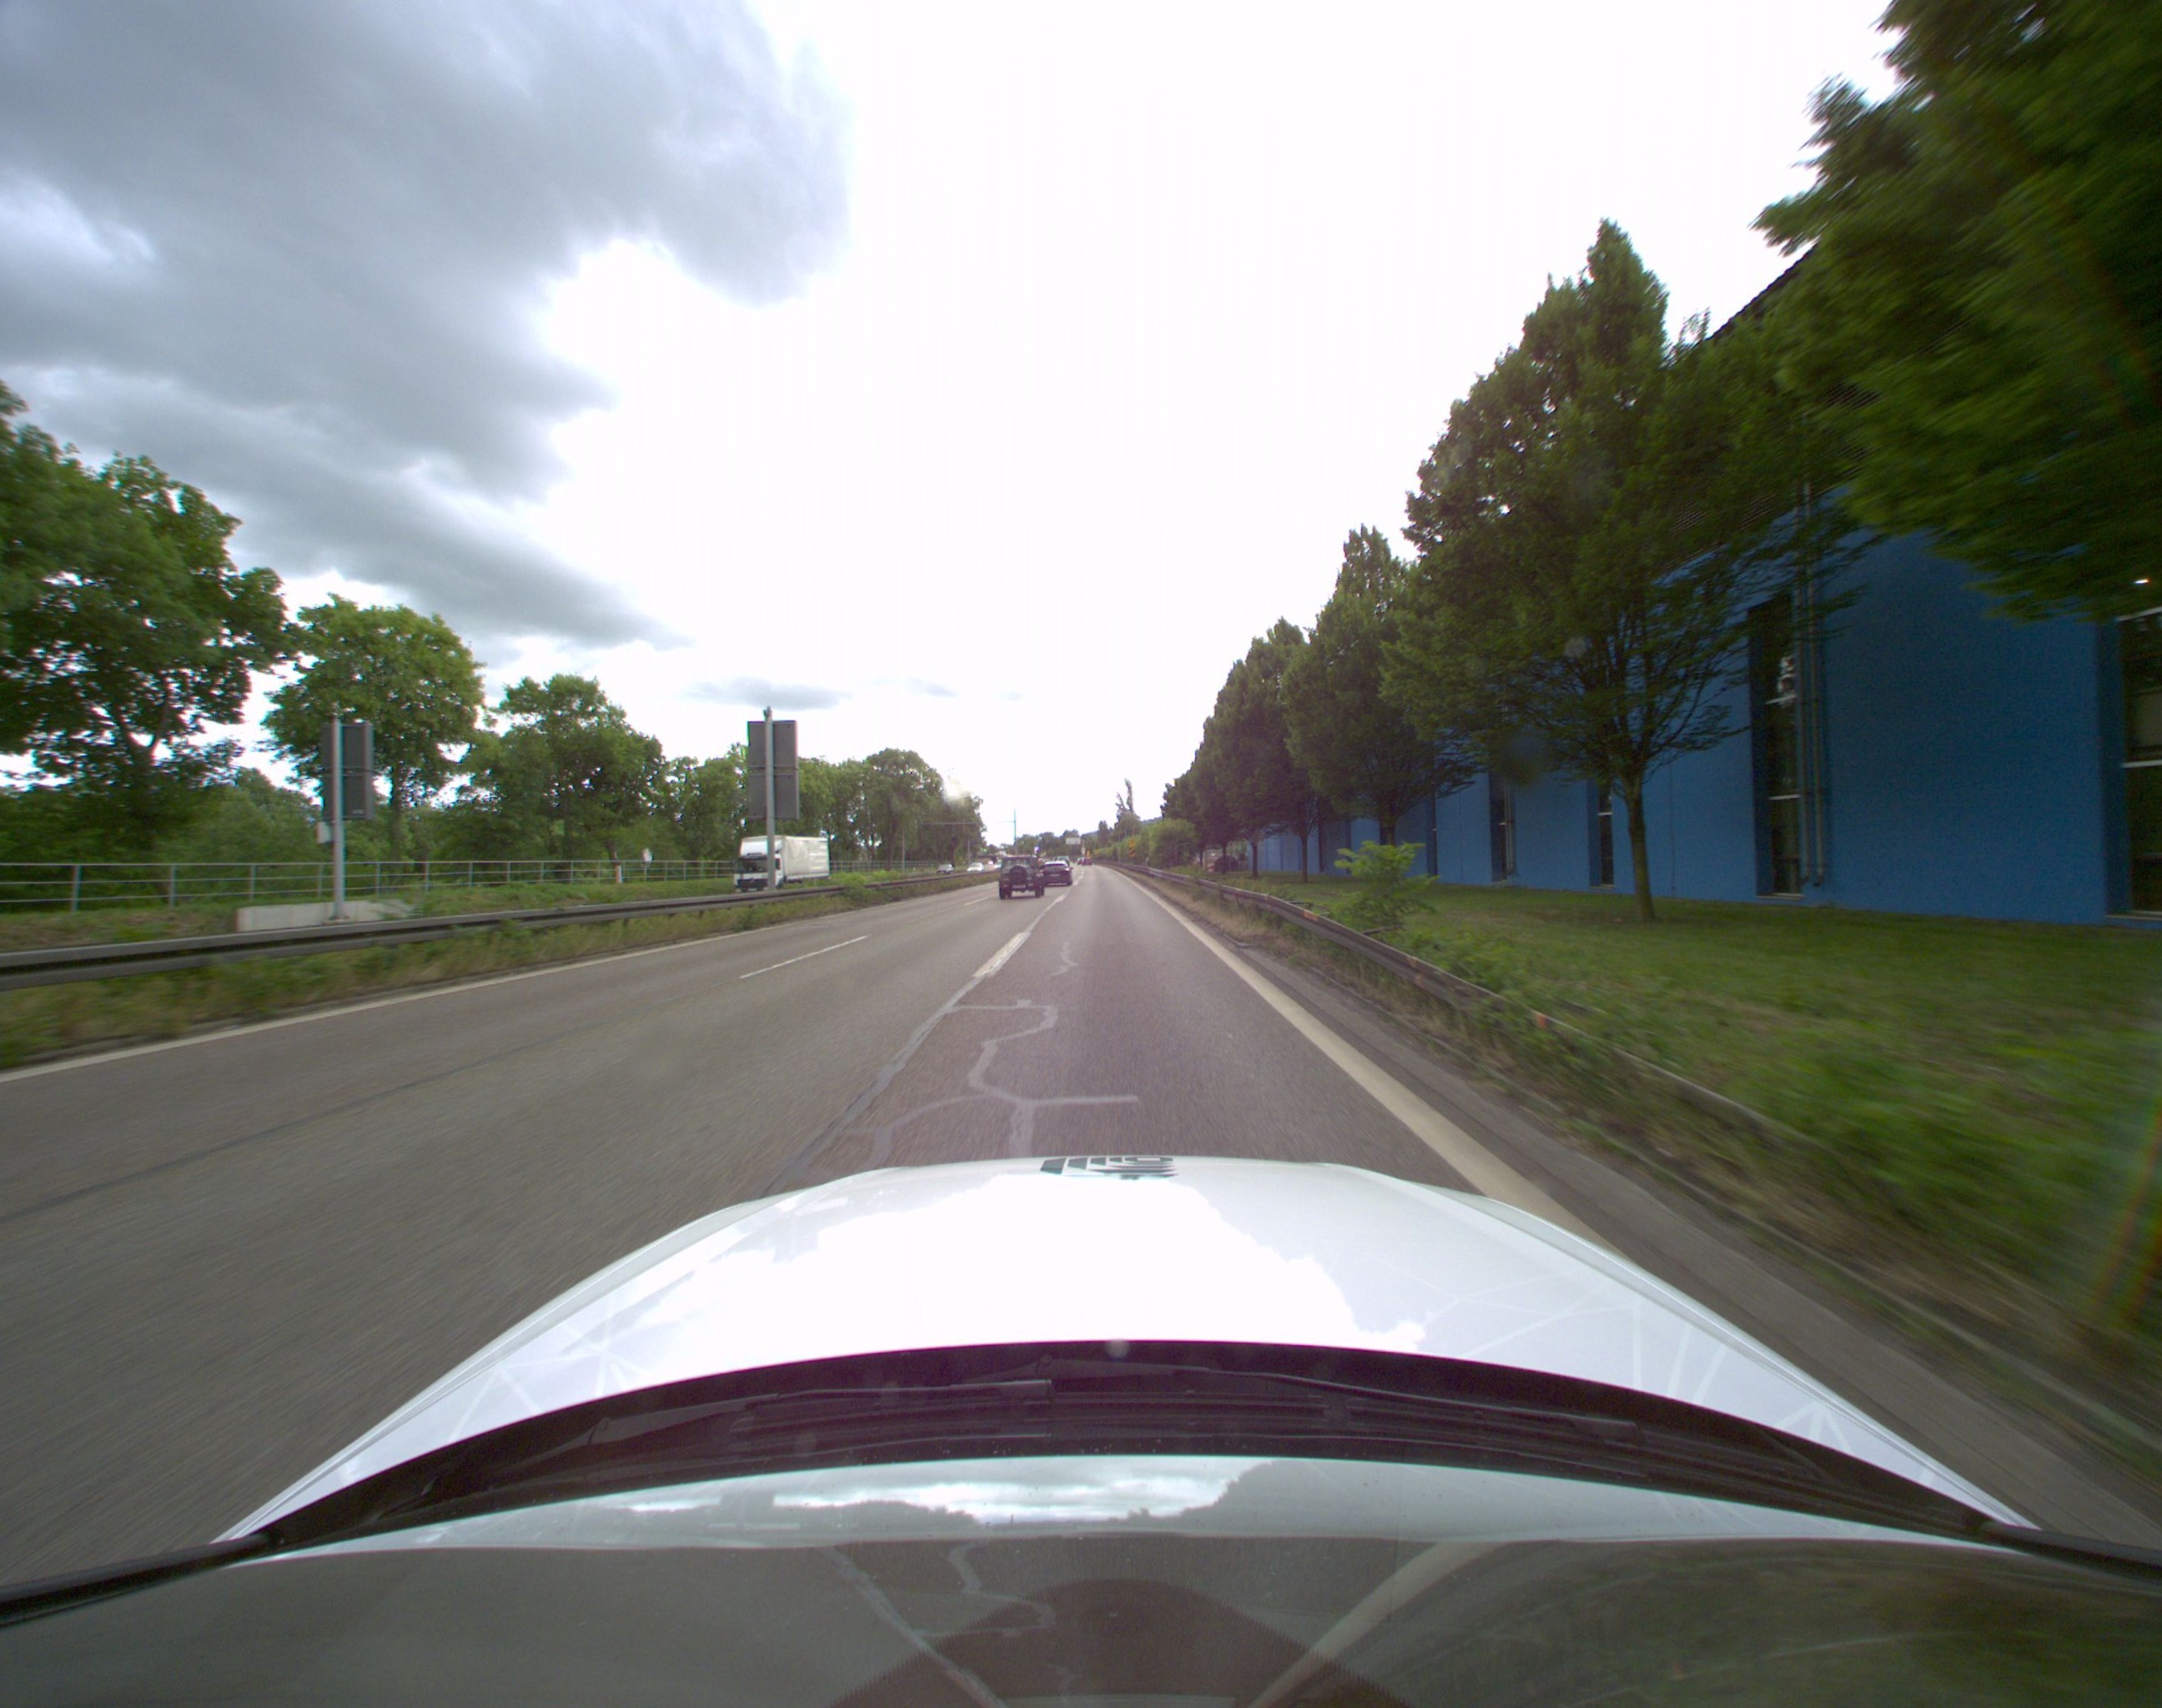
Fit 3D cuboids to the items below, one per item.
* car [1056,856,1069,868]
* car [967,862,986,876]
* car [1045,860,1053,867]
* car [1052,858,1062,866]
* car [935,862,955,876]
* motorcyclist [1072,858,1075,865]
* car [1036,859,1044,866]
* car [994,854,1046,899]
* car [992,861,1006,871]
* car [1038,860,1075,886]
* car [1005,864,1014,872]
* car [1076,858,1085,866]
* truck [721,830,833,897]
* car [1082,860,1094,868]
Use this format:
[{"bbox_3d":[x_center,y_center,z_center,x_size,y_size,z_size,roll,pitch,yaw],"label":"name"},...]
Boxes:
[{"bbox_3d":[-2.739,1.150,122.615,1.692,1.742,4.000,-2,0,1],"label":"car"},{"bbox_3d":[-13.588,1.946,105.782,1.691,1.605,4.540,-4,0,2],"label":"car"},{"bbox_3d":[-8.190,2.393,207.003,1.695,1.742,4.385,-3,0,-5],"label":"car"},{"bbox_3d":[-6.630,2.202,226.638,2.013,1.934,4.885,-3,-1,-9],"label":"car"},{"bbox_3d":[-17.270,1.839,103.422,1.720,1.605,4.043,-4,0,2],"label":"car"},{"bbox_3d":[-1.990,1.977,211.427,0.790,1.760,0.921,-1,0,-5],"label":"motorcyclist"},{"bbox_3d":[-12.652,2.581,250.400,2.013,1.934,4.884,-3,-1,-9],"label":"car"},{"bbox_3d":[-2.425,0.868,33.470,1.691,1.686,4.001,-1,0,2],"label":"car"},{"bbox_3d":[-14.982,2.201,148.568,1.860,1.674,4.718,-3,0,0],"label":"car"},{"bbox_3d":[-1.407,1.100,48.153,1.838,1.423,4.902,-1,0,2],"label":"car"},{"bbox_3d":[-16.109,3.144,183.612,1.720,1.775,3.742,-3,-1,1],"label":"car"},{"bbox_3d":[-0.150,1.707,176.287,1.695,1.742,4.386,-2,0,-5],"label":"car"},{"bbox_3d":[-18.255,0.582,49.758,2.878,3.579,9.590,-2,-1,2],"label":"truck"},{"bbox_3d":[1.254,1.868,153.803,1.970,1.423,4.894,-3,-1,-4],"label":"car"}]
